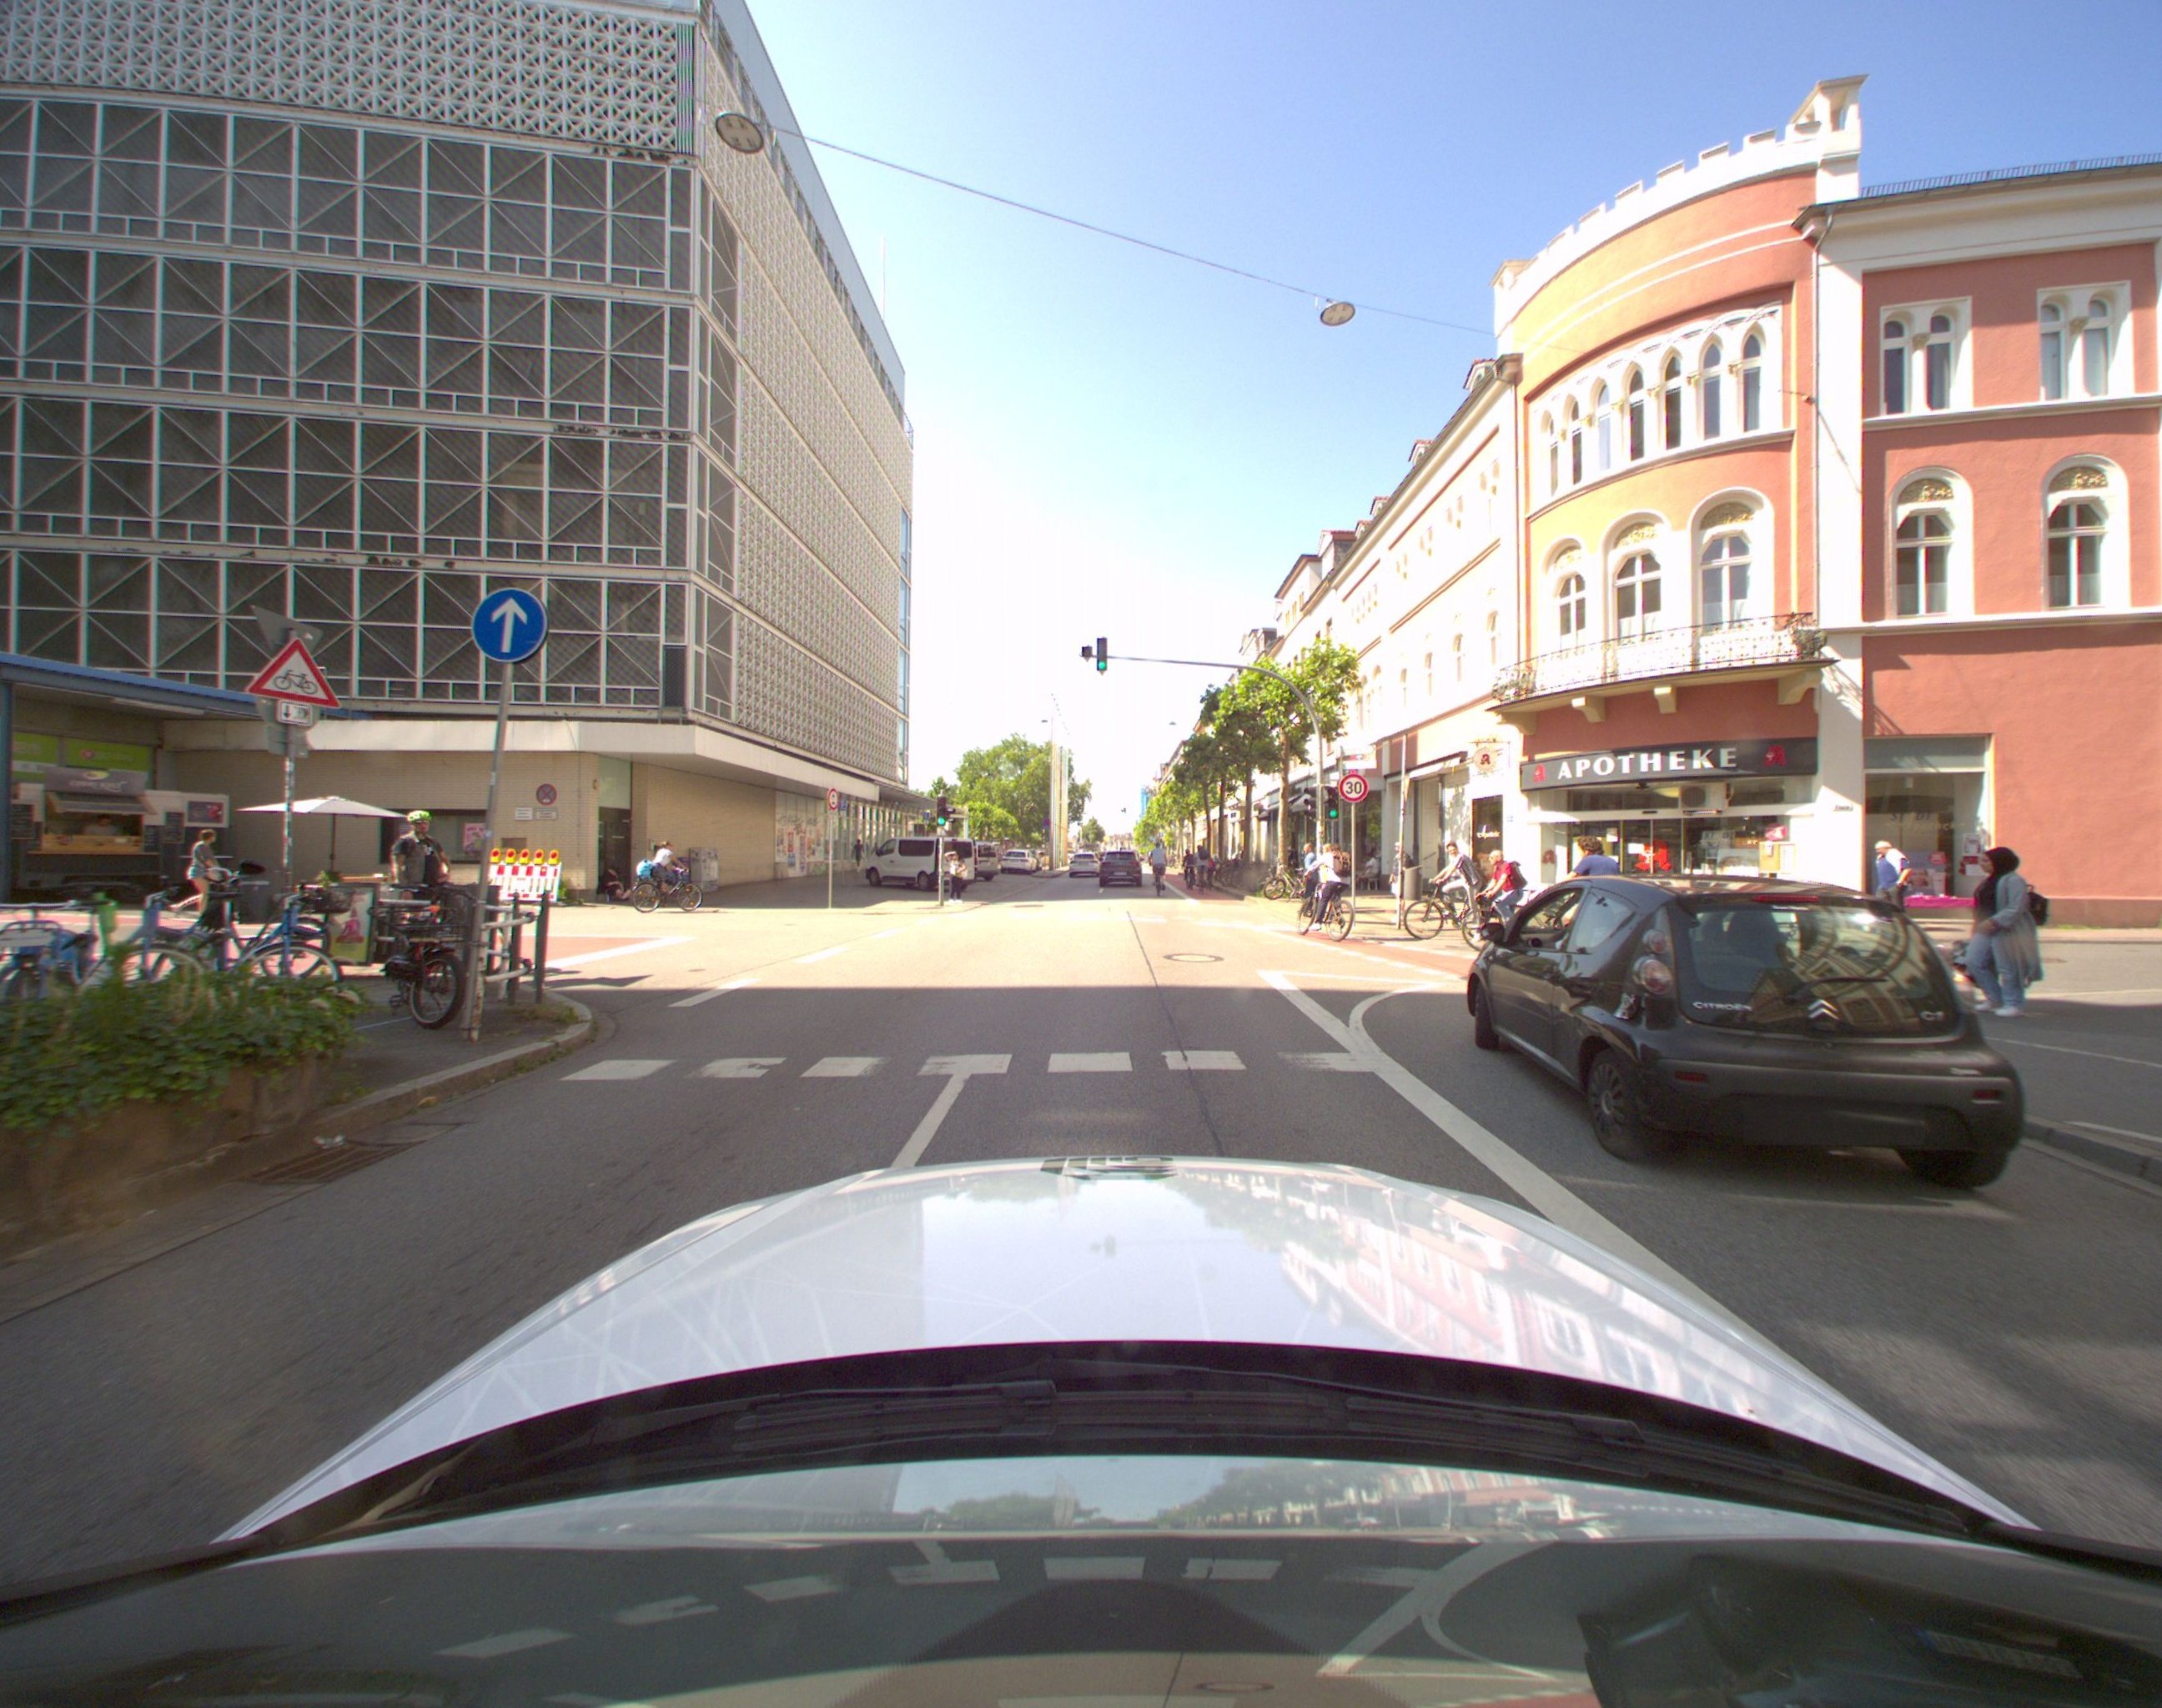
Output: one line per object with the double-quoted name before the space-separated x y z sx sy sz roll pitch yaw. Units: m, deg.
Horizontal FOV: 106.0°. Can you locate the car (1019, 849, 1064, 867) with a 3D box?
"car" -3.708 0.353 77.333 1.873 1.541 4.892 1 2 29

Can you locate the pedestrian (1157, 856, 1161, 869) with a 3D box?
"pedestrian" 9.681 1.089 101.018 0.546 1.631 0.590 -1 -1 5

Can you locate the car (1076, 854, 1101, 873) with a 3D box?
"car" 0.641 0.707 63.563 1.838 1.449 4.002 0 0 2

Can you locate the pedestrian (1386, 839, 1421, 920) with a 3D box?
"pedestrian" 7.469 0.580 18.860 0.634 1.843 0.617 2 -1 14

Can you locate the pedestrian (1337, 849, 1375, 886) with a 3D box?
"pedestrian" 10.741 0.536 31.822 1.229 1.422 0.790 0 -1 0

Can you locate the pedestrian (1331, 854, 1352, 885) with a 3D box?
"pedestrian" 10.881 0.636 34.000 0.637 1.253 0.608 -2 -1 0

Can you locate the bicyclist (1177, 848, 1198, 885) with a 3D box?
"bicyclist" 4.283 0.499 32.683 0.696 1.440 0.790 2 0 -1

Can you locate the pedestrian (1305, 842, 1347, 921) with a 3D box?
"pedestrian" 5.470 0.607 18.195 0.637 1.709 0.789 -1 -2 -1

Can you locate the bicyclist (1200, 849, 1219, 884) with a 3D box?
"bicyclist" 5.153 0.506 32.676 0.598 1.358 0.720 2 -1 -1

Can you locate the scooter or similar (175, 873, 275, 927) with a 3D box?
"scooter or similar" -16.258 0.853 15.497 0.973 0.965 0.896 1 0 -18

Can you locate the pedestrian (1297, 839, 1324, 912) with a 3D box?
"pedestrian" 5.763 0.524 20.471 0.451 1.795 0.608 2 0 0

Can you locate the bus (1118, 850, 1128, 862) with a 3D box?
"bus" 12.595 0.555 244.778 2.983 3.594 11.749 1 0 2

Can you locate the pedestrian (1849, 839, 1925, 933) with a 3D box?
"pedestrian" 14.921 0.565 15.100 0.634 1.657 0.793 1 3 13

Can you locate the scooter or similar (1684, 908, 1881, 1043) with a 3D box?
"scooter or similar" 6.459 1.075 7.563 0.784 1.061 1.121 -1 -1 -12

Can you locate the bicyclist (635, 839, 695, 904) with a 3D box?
"bicyclist" -10.159 0.398 19.909 0.726 1.539 1.084 0 0 39

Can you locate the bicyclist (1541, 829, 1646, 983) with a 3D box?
"bicyclist" 5.834 0.573 9.307 0.727 1.673 0.775 -1 0 5

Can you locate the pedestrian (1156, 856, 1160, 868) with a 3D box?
"pedestrian" 9.773 1.043 103.240 0.520 1.521 0.642 -1 -1 6

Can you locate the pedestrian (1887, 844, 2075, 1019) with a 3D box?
"pedestrian" 8.987 0.731 8.158 0.904 1.612 0.968 0 -3 -26

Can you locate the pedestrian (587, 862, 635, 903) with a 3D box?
"pedestrian" -12.771 0.763 22.137 0.719 1.057 0.841 4 0 1

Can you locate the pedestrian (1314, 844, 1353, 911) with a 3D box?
"pedestrian" 6.489 0.584 20.959 0.785 1.690 0.641 1 0 0

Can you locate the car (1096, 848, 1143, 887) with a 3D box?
"car" 1.571 0.536 34.864 1.839 1.559 4.000 0 0 0

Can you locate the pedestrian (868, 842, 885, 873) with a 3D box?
"pedestrian" -10.240 0.159 40.796 0.677 1.559 0.640 0 0 -3

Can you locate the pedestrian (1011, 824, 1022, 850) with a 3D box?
"pedestrian" -4.420 -1.168 55.863 0.526 1.793 0.542 0 -2 42

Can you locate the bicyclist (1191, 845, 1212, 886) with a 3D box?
"bicyclist" 4.378 0.403 29.549 0.628 1.481 1.199 0 0 2

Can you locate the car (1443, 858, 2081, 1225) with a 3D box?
"car" 3.686 0.799 5.334 1.618 1.478 3.743 1 -1 11

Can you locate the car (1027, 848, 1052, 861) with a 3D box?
"car" -6.330 0.101 123.662 1.842 1.955 4.787 0 -1 24

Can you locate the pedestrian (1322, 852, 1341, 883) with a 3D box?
"pedestrian" 10.999 0.594 35.738 0.679 1.332 0.532 0 0 0

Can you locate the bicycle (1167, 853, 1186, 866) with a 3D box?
"bicycle" 8.688 0.487 74.030 1.720 1.109 0.403 1 0 4

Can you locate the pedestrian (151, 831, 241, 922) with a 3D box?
"pedestrian" -16.788 0.410 15.476 0.844 1.658 0.836 1 1 -17

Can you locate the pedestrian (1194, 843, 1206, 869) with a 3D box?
"pedestrian" 7.999 0.154 54.781 0.637 1.689 0.843 3 1 0

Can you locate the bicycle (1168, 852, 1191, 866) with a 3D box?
"bicycle" 8.660 0.454 71.694 1.922 1.248 0.737 1 0 4

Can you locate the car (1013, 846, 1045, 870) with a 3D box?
"car" -3.554 0.255 56.063 1.754 1.600 4.711 1 0 2

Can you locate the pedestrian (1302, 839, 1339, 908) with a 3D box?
"pedestrian" 6.380 0.518 21.707 0.785 1.795 0.641 1 0 0

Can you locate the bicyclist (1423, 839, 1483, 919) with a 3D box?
"bicyclist" 6.685 0.450 14.645 0.855 1.411 0.501 0 0 3

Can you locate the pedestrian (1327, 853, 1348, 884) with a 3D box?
"pedestrian" 10.895 0.614 34.598 0.679 1.253 0.532 -1 0 0

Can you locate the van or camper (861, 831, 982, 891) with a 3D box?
"van or camper" -6.043 0.208 30.536 4.602 2.013 2.012 3 1 42

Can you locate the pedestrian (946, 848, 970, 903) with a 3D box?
"pedestrian" -3.616 0.622 23.991 0.639 1.559 0.679 2 0 -9

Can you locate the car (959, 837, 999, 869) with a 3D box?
"car" -6.665 -0.074 53.840 1.824 2.013 4.689 1 0 3

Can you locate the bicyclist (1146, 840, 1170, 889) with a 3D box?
"bicyclist" 2.597 0.342 27.426 0.771 1.635 0.852 0 0 3

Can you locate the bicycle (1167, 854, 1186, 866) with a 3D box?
"bicycle" 8.737 0.531 74.862 1.720 1.109 0.478 1 0 4

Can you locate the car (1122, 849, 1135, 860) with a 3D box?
"car" 7.089 0.086 122.519 1.838 1.668 4.002 2 0 2

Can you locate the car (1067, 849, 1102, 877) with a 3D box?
"car" 0.264 0.495 47.642 1.838 1.560 4.003 0 0 3

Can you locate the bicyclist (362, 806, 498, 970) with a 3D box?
"bicyclist" -8.211 0.406 10.317 0.837 1.960 1.019 0 0 8

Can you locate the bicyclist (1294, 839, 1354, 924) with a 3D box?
"bicyclist" 4.355 0.480 14.638 0.697 1.445 0.959 2 0 -4

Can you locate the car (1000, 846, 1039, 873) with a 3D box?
"car" -3.717 0.299 50.264 1.792 1.523 4.742 1 1 3

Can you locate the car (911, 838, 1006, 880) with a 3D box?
"car" -5.888 0.190 38.822 4.389 1.909 2.022 1 1 39
